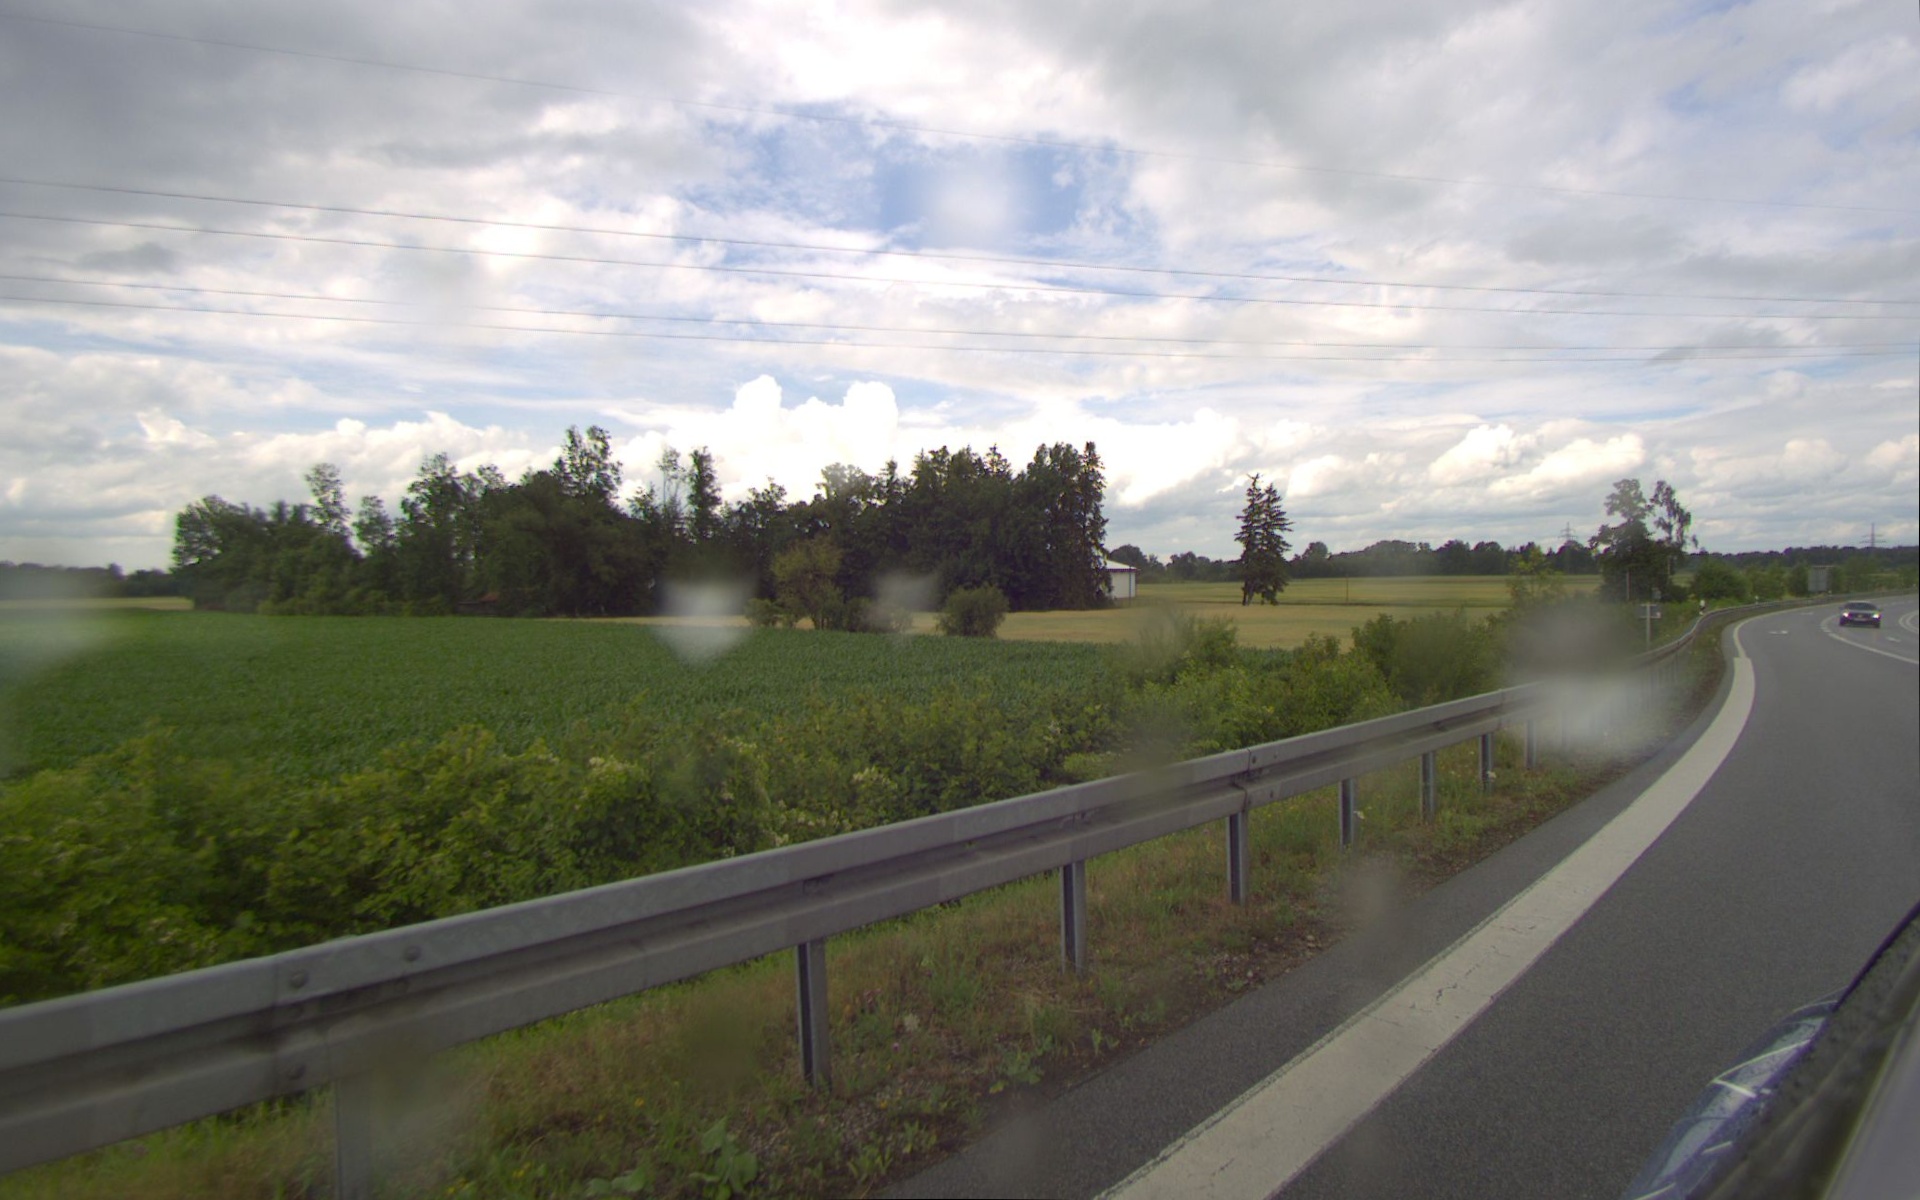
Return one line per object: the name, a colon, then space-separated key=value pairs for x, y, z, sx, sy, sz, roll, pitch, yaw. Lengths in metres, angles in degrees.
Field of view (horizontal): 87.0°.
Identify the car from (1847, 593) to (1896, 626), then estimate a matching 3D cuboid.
car: x=52.201 y=0.528 z=57.968 sx=1.992 sy=1.775 sz=3.940 roll=-1 pitch=0 yaw=42
